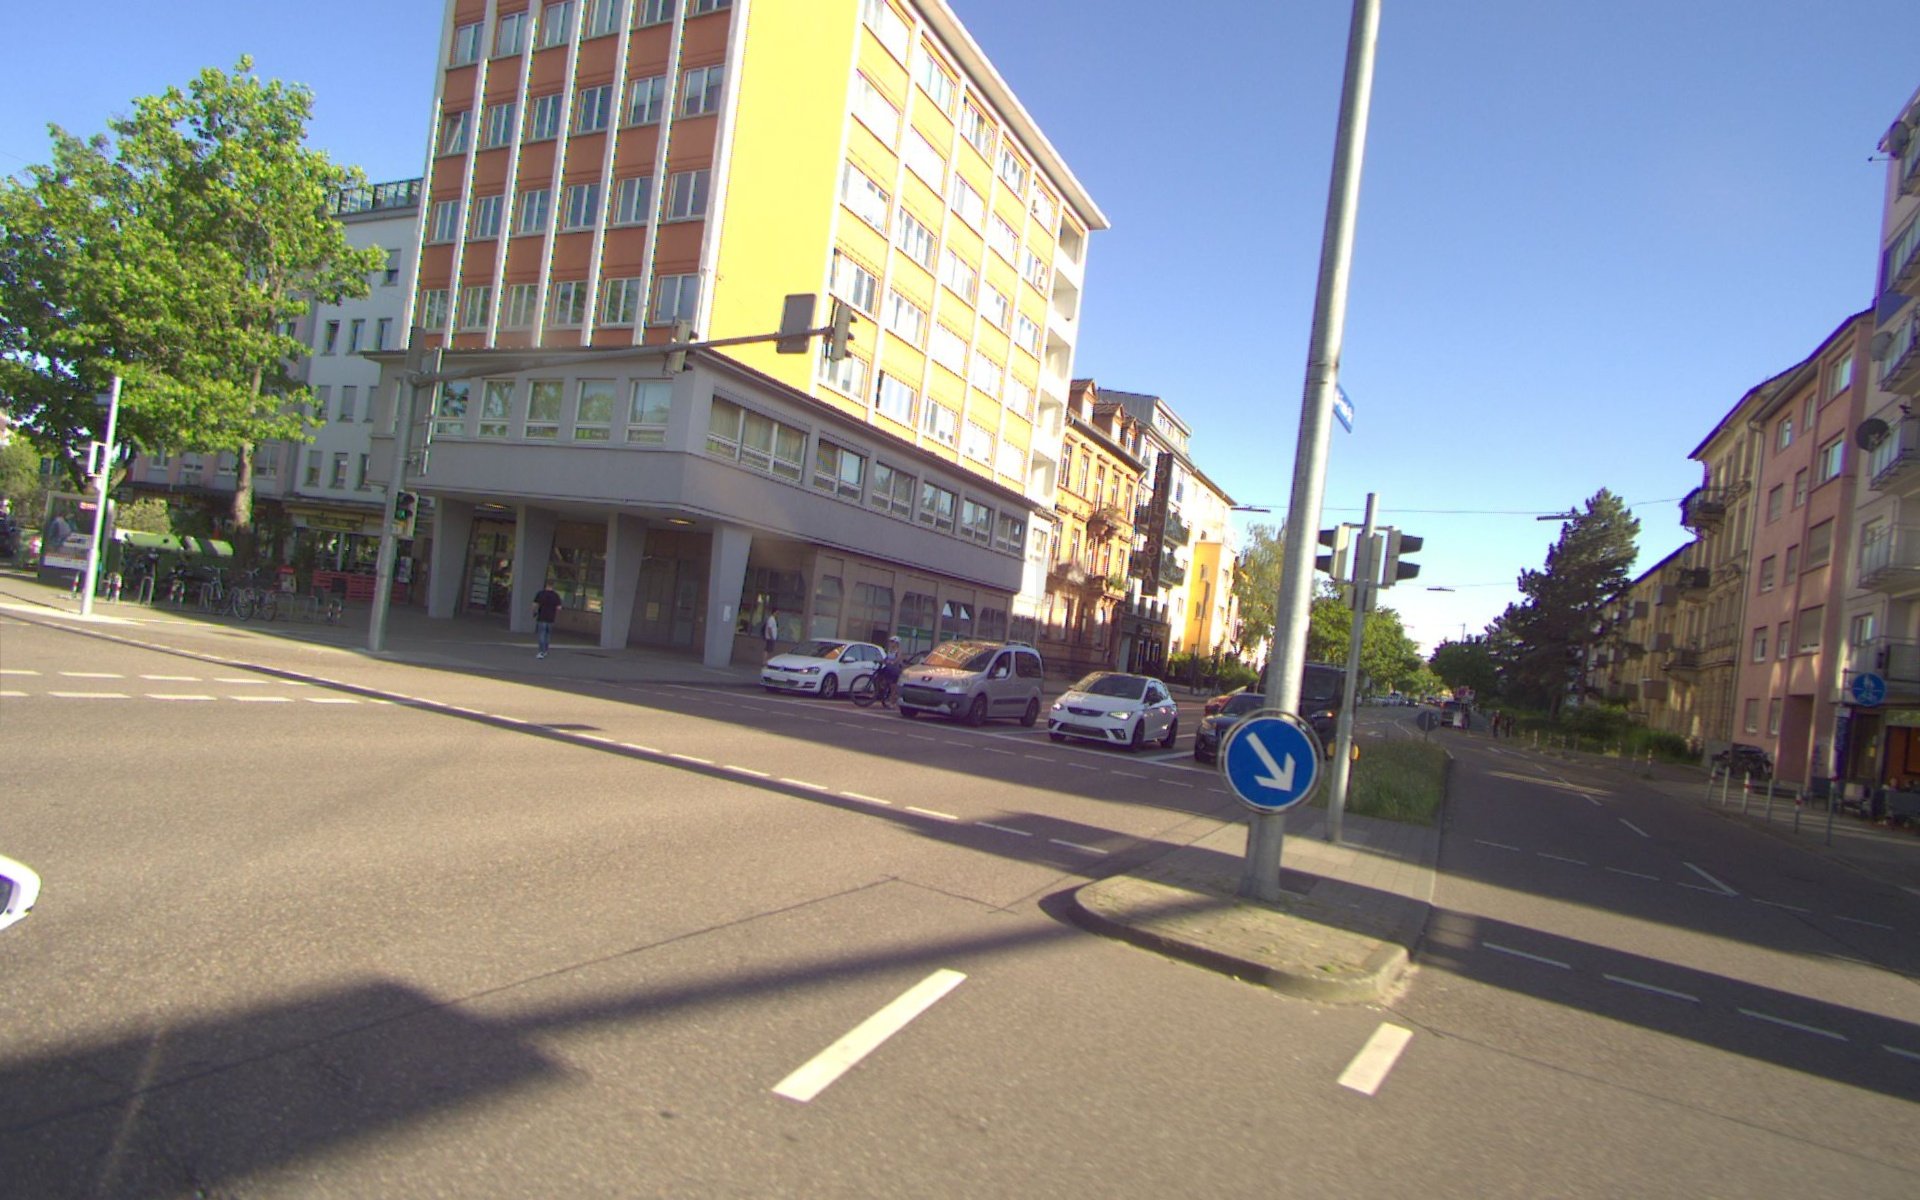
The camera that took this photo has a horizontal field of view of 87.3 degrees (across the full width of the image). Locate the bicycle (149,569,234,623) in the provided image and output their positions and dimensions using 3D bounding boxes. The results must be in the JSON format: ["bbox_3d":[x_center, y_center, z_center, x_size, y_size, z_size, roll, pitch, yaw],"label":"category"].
[{"bbox_3d":[-17.523,-0.103,22.927,2.081,0.995,0.477,6,-3,24],"label":"bicycle"}]

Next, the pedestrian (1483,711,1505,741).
[{"bbox_3d":[32.077,7.575,60.449,0.828,1.691,0.780,7,-3,11],"label":"pedestrian"}]

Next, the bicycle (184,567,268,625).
[{"bbox_3d":[-17.201,-0.102,23.565,2.081,1.128,0.477,6,-3,24],"label":"bicycle"}]

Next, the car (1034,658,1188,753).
[{"bbox_3d":[3.082,2.117,19.768,1.816,1.455,4.004,6,-4,25],"label":"car"}]

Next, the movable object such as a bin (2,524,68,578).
[{"bbox_3d":[-28.161,-1.471,30.625,0.910,1.406,1.279,4,-5,45],"label":"movable object such as a bin"}]

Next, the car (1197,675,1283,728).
[{"bbox_3d":[9.993,3.611,35.699,1.796,1.553,4.378,6,-2,30],"label":"car"}]

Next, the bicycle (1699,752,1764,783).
[{"bbox_3d":[29.093,6.302,37.951,1.884,1.003,0.688,3,-4,5],"label":"bicycle"}]

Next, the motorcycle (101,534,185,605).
[{"bbox_3d":[-21.276,-0.802,26.183,2.504,1.556,0.804,6,-3,34],"label":"motorcycle"}]

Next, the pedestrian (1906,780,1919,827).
[{"bbox_3d":[25.639,5.436,26.676,0.595,1.180,0.662,7,-1,31],"label":"pedestrian"}]

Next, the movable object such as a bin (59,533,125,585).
[{"bbox_3d":[-27.333,-1.285,31.676,0.911,1.370,1.176,6,-4,28],"label":"movable object such as a bin"}]

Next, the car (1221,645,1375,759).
[{"bbox_3d":[8.424,2.505,24.705,2.338,2.224,5.249,6,-2,31],"label":"car"}]

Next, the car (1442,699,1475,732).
[{"bbox_3d":[36.931,8.584,74.582,1.965,2.035,4.250,6,-4,27],"label":"car"}]

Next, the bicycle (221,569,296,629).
[{"bbox_3d":[-17.200,-0.038,24.653,1.815,1.257,0.534,6,-3,26],"label":"bicycle"}]

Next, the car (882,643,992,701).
[{"bbox_3d":[-0.607,2.224,30.287,1.549,1.442,4.165,4,-4,25],"label":"car"}]

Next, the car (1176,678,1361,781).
[{"bbox_3d":[5.903,2.482,18.928,1.944,1.484,4.154,5,-5,37],"label":"car"}]

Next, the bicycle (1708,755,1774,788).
[{"bbox_3d":[28.119,6.180,36.242,1.885,1.003,0.688,3,-4,-2],"label":"bicycle"}]

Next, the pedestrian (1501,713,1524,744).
[{"bbox_3d":[33.143,7.710,60.366,0.828,1.691,0.780,7,-3,10],"label":"pedestrian"}]

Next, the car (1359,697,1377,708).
[{"bbox_3d":[52.688,13.210,130.038,1.963,1.058,4.002,7,-2,22],"label":"car"}]

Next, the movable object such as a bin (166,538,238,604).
[{"bbox_3d":[-22.268,-0.849,29.574,0.928,1.728,1.259,5,-2,26],"label":"movable object such as a bin"}]

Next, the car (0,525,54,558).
[{"bbox_3d":[-49.495,-3.072,53.108,1.843,1.358,4.557,10,-5,-36],"label":"car"}]

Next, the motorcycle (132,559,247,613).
[{"bbox_3d":[-19.574,-0.330,25.619,0.749,1.032,2.104,7,-4,28],"label":"motorcycle"}]

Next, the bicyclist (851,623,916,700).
[{"bbox_3d":[-1.705,1.386,22.542,0.925,1.577,0.936,6,-3,25],"label":"bicyclist"}]

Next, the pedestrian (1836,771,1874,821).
[{"bbox_3d":[23.667,5.168,26.606,0.551,1.180,0.549,7,-1,31],"label":"pedestrian"}]

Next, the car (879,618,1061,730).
[{"bbox_3d":[0.361,1.665,21.445,1.913,1.869,4.606,6,-4,26],"label":"car"}]

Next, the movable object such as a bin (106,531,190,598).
[{"bbox_3d":[-22.927,-0.989,28.419,0.990,1.658,1.385,6,-3,26],"label":"movable object such as a bin"}]

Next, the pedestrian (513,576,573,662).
[{"bbox_3d":[-9.779,0.443,23.582,0.823,1.864,0.881,10,-4,-41],"label":"pedestrian"}]

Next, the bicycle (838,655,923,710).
[{"bbox_3d":[-1.749,1.870,22.577,0.846,1.011,2.151,6,-4,25],"label":"bicycle"}]

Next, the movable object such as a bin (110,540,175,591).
[{"bbox_3d":[-26.761,-1.120,32.954,0.943,1.405,1.217,6,-4,28],"label":"movable object such as a bin"}]

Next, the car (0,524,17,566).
[{"bbox_3d":[-36.508,-2.178,37.433,1.759,1.455,4.531,8,-2,-41],"label":"car"}]

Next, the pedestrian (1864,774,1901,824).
[{"bbox_3d":[24.150,5.193,26.345,0.521,1.180,0.563,7,-1,31],"label":"pedestrian"}]

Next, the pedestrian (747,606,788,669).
[{"bbox_3d":[-5.898,1.149,30.849,0.883,1.798,0.859,7,-3,0],"label":"pedestrian"}]

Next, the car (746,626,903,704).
[{"bbox_3d":[-3.260,1.681,25.108,1.813,1.518,4.168,4,-5,25],"label":"car"}]
